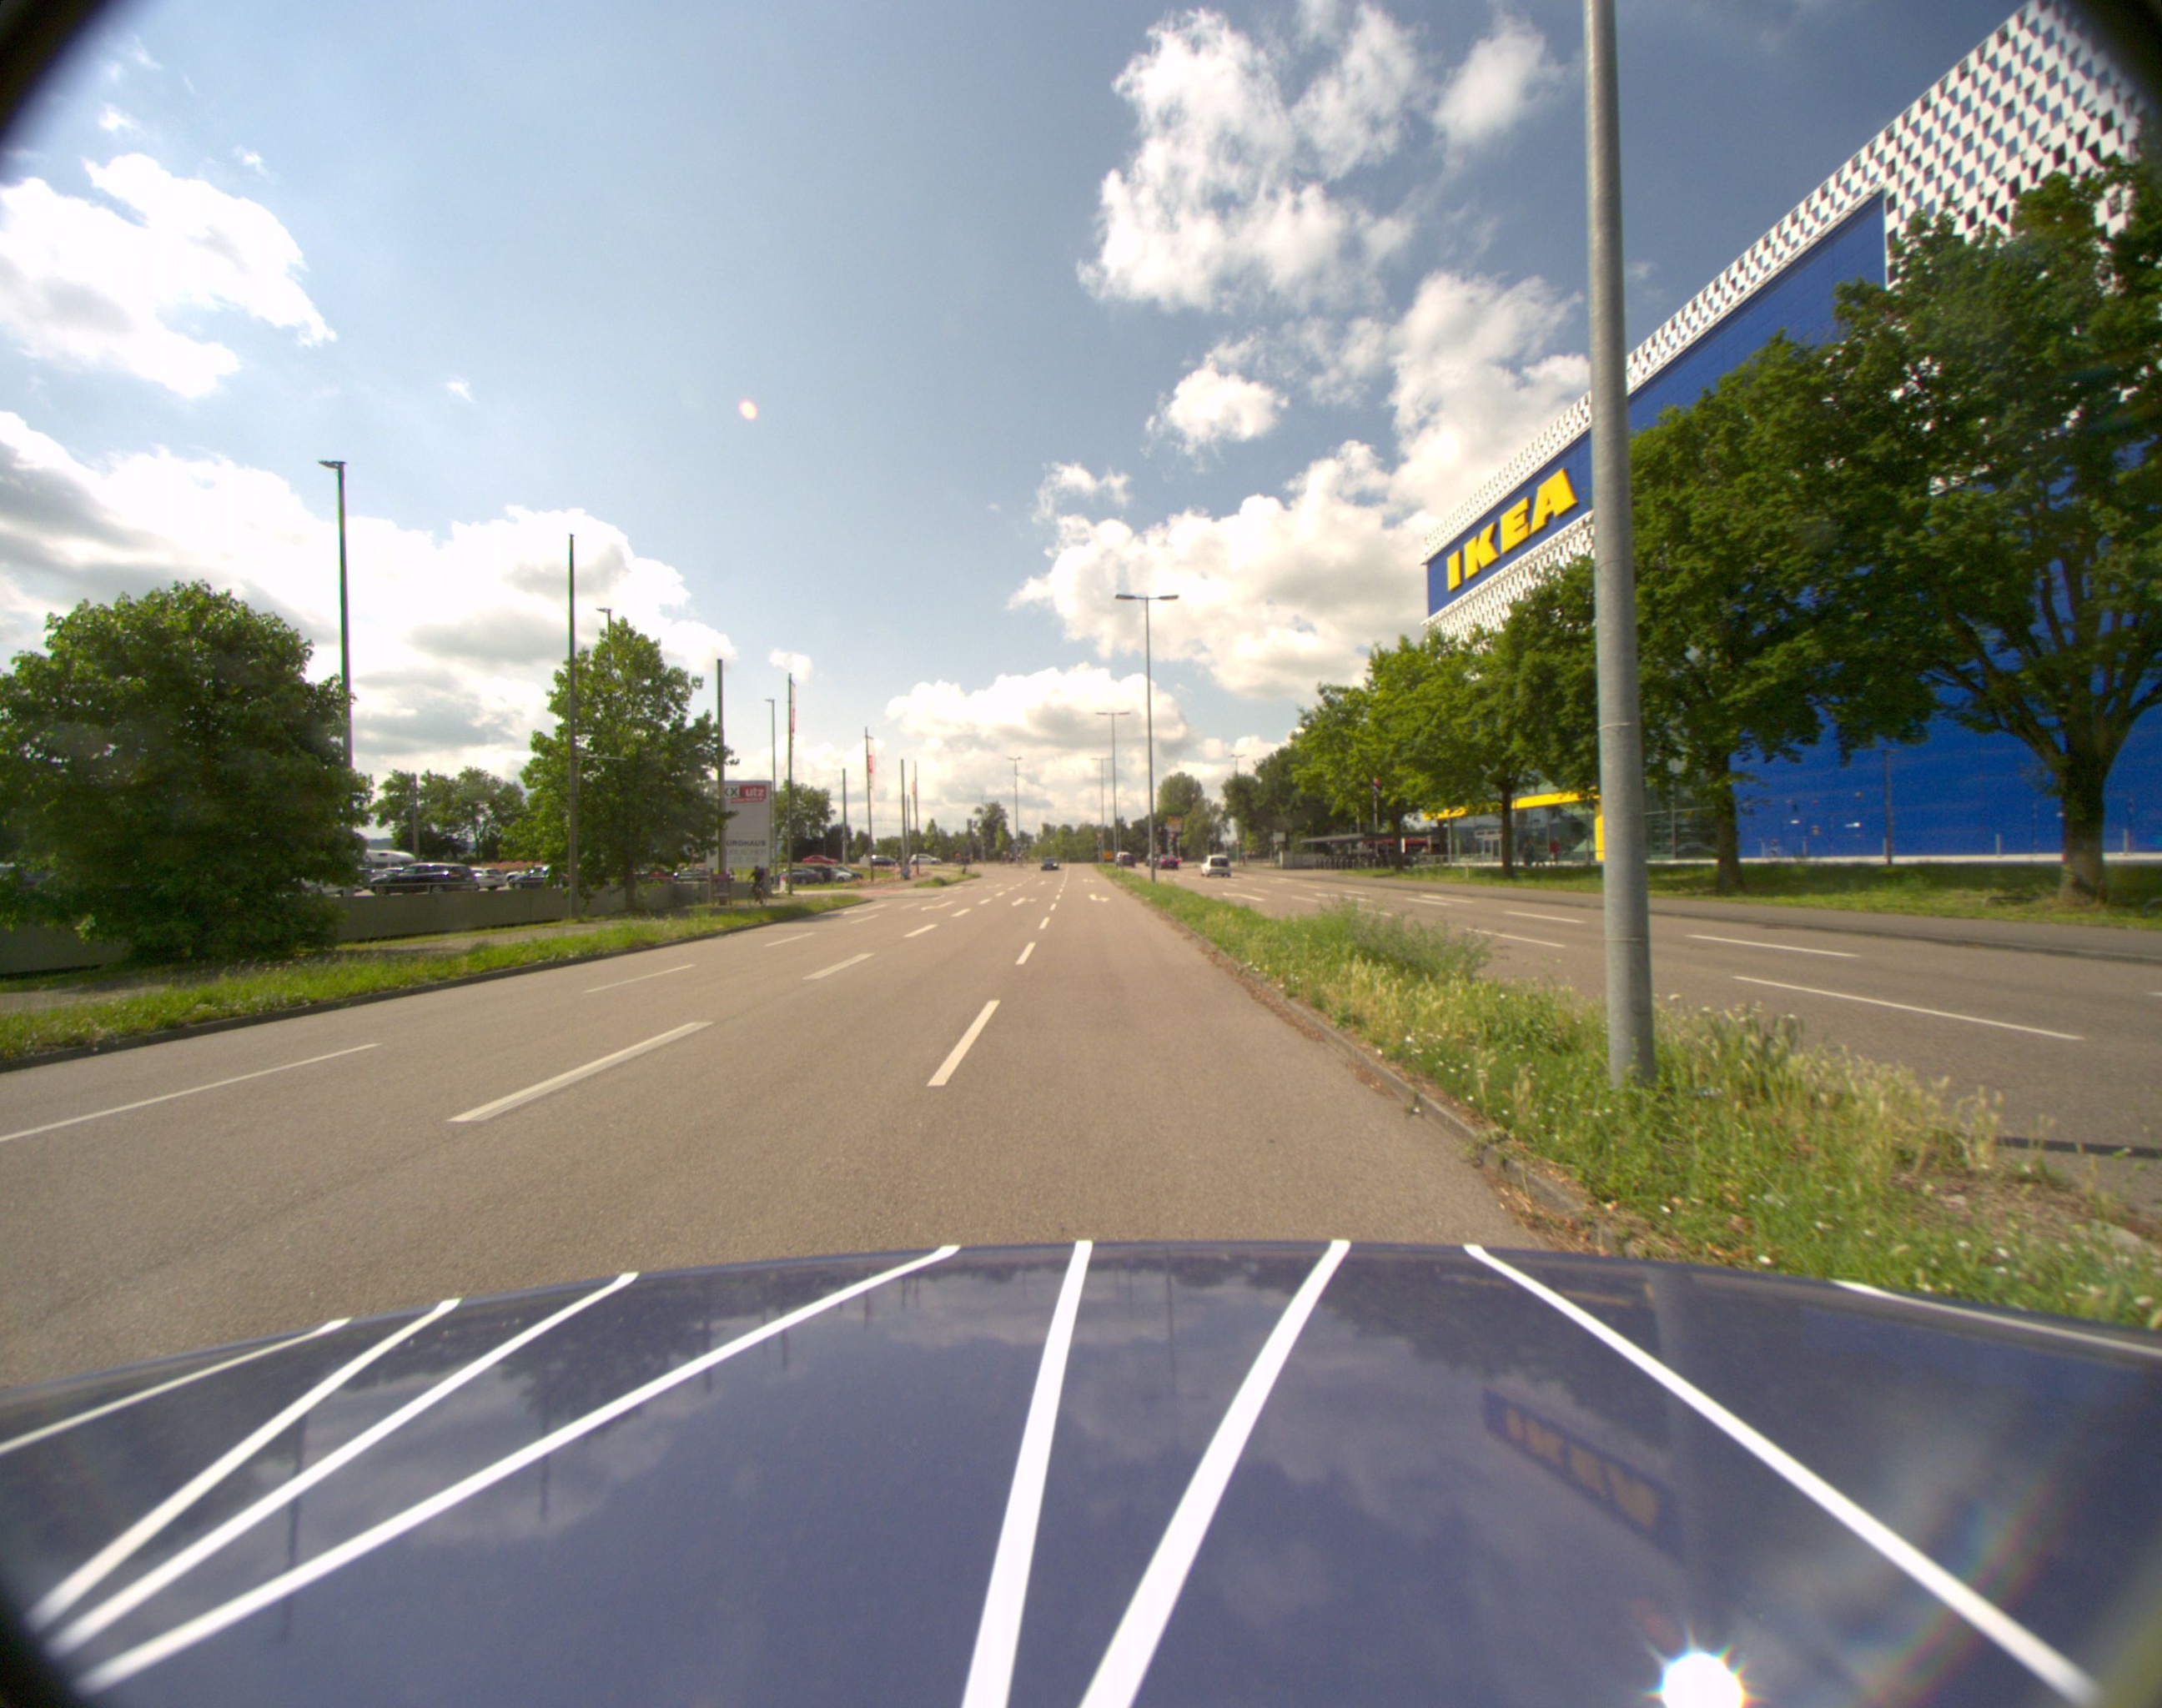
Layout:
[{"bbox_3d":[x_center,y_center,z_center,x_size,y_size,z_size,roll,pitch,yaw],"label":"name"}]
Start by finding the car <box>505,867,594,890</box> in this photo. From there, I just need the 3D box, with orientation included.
[{"bbox_3d":[-33.561,1.534,48.064,4.369,1.354,1.847,1,0,2],"label":"car"}]

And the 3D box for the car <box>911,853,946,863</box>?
[{"bbox_3d":[-21.095,0.588,105.488,4.495,1.404,2.013,0,0,-3],"label":"car"}]

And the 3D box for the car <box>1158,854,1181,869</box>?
[{"bbox_3d":[8.722,0.724,75.474,1.668,1.413,4.518,1,0,-1],"label":"car"}]

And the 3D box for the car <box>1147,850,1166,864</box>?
[{"bbox_3d":[8.914,0.341,89.950,1.775,1.606,3.999,1,1,-1],"label":"car"}]

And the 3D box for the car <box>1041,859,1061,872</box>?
[{"bbox_3d":[-3.312,1.225,83.780,1.797,1.311,4.164,-2,0,3],"label":"car"}]

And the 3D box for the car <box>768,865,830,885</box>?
[{"bbox_3d":[-23.445,1.728,63.242,4.369,1.468,1.857,-2,0,2],"label":"car"}]

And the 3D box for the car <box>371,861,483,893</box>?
[{"bbox_3d":[-33.135,1.172,38.574,4.065,1.522,1.741,1,0,-4],"label":"car"}]

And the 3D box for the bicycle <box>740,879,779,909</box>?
[{"bbox_3d":[-12.264,1.501,29.053,0.625,1.061,1.968,0,-1,1],"label":"bicycle"}]

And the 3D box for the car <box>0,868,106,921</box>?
[{"bbox_3d":[-33.688,1.207,23.475,4.370,1.564,2.030,0,-1,-1],"label":"car"}]

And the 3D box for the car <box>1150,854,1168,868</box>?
[{"bbox_3d":[8.264,0.765,80.588,1.415,1.383,4.096,1,0,0],"label":"car"}]

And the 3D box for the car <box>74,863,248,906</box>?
[{"bbox_3d":[-34.047,1.123,28.209,4.193,1.543,1.765,0,-1,-1],"label":"car"}]

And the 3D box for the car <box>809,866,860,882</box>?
[{"bbox_3d":[-23.783,1.961,73.363,4.369,1.431,1.796,-1,0,0],"label":"car"}]

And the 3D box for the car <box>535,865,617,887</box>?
[{"bbox_3d":[-33.593,1.483,50.615,4.369,1.433,1.627,0,-1,2],"label":"car"}]

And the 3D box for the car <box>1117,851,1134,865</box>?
[{"bbox_3d":[5.324,0.444,92.223,1.712,1.610,4.377,1,1,-1],"label":"car"}]

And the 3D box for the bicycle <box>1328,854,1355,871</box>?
[{"bbox_3d":[20.748,0.688,60.563,1.930,1.265,0.630,-1,-1,0],"label":"bicycle"}]

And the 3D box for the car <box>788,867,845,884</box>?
[{"bbox_3d":[-23.647,1.908,68.020,4.369,1.408,1.857,-1,0,0],"label":"car"}]

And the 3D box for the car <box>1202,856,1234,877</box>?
[{"bbox_3d":[9.434,0.856,52.637,1.647,1.420,3.670,0,0,1],"label":"car"}]

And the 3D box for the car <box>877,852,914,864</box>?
[{"bbox_3d":[-23.459,0.470,96.152,4.193,1.474,1.918,0,1,15],"label":"car"}]

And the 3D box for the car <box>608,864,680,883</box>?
[{"bbox_3d":[-33.274,1.482,57.911,4.369,1.354,1.847,0,-1,2],"label":"car"}]

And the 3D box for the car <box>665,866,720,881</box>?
[{"bbox_3d":[-38.769,1.936,75.912,4.369,1.400,2.050,1,-1,2],"label":"car"}]

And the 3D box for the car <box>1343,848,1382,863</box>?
[{"bbox_3d":[40.728,0.234,110.089,4.820,2.001,2.000,-1,-1,-3],"label":"car"}]

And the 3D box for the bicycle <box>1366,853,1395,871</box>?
[{"bbox_3d":[22.972,0.609,58.219,1.930,1.265,0.630,-1,-1,0],"label":"bicycle"}]

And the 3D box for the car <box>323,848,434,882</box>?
[{"bbox_3d":[-67.834,0.995,73.479,7.897,3.136,3.122,-1,1,3],"label":"car"}]

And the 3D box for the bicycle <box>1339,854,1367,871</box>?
[{"bbox_3d":[20.818,0.676,58.190,1.930,1.265,0.630,-1,-1,0],"label":"bicycle"}]

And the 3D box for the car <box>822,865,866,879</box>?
[{"bbox_3d":[-24.314,1.828,77.988,3.998,1.410,1.715,-1,0,-2],"label":"car"}]

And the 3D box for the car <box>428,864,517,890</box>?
[{"bbox_3d":[-38.515,1.471,48.158,4.159,1.499,1.826,-2,-1,0],"label":"car"}]

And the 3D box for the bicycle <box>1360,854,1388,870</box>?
[{"bbox_3d":[22.820,0.656,59.220,1.930,1.176,0.630,-1,-1,0],"label":"bicycle"}]

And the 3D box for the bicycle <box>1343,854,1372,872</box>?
[{"bbox_3d":[20.758,0.657,57.118,1.930,1.265,0.630,-1,-1,0],"label":"bicycle"}]

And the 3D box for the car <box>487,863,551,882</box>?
[{"bbox_3d":[-50.244,1.650,67.996,4.236,1.578,1.853,0,-1,-2],"label":"car"}]

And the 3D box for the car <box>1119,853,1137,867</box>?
[{"bbox_3d":[5.182,0.635,84.389,1.608,1.484,4.131,1,0,-1],"label":"car"}]

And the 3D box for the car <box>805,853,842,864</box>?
[{"bbox_3d":[-33.128,0.574,97.860,4.248,1.352,1.748,0,1,-4],"label":"car"}]

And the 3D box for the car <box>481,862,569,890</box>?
[{"bbox_3d":[-33.564,1.345,45.939,4.025,1.578,1.695,-1,-1,-1],"label":"car"}]

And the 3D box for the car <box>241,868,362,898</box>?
[{"bbox_3d":[-39.435,1.466,38.510,4.300,1.418,1.760,-1,-2,0],"label":"car"}]
